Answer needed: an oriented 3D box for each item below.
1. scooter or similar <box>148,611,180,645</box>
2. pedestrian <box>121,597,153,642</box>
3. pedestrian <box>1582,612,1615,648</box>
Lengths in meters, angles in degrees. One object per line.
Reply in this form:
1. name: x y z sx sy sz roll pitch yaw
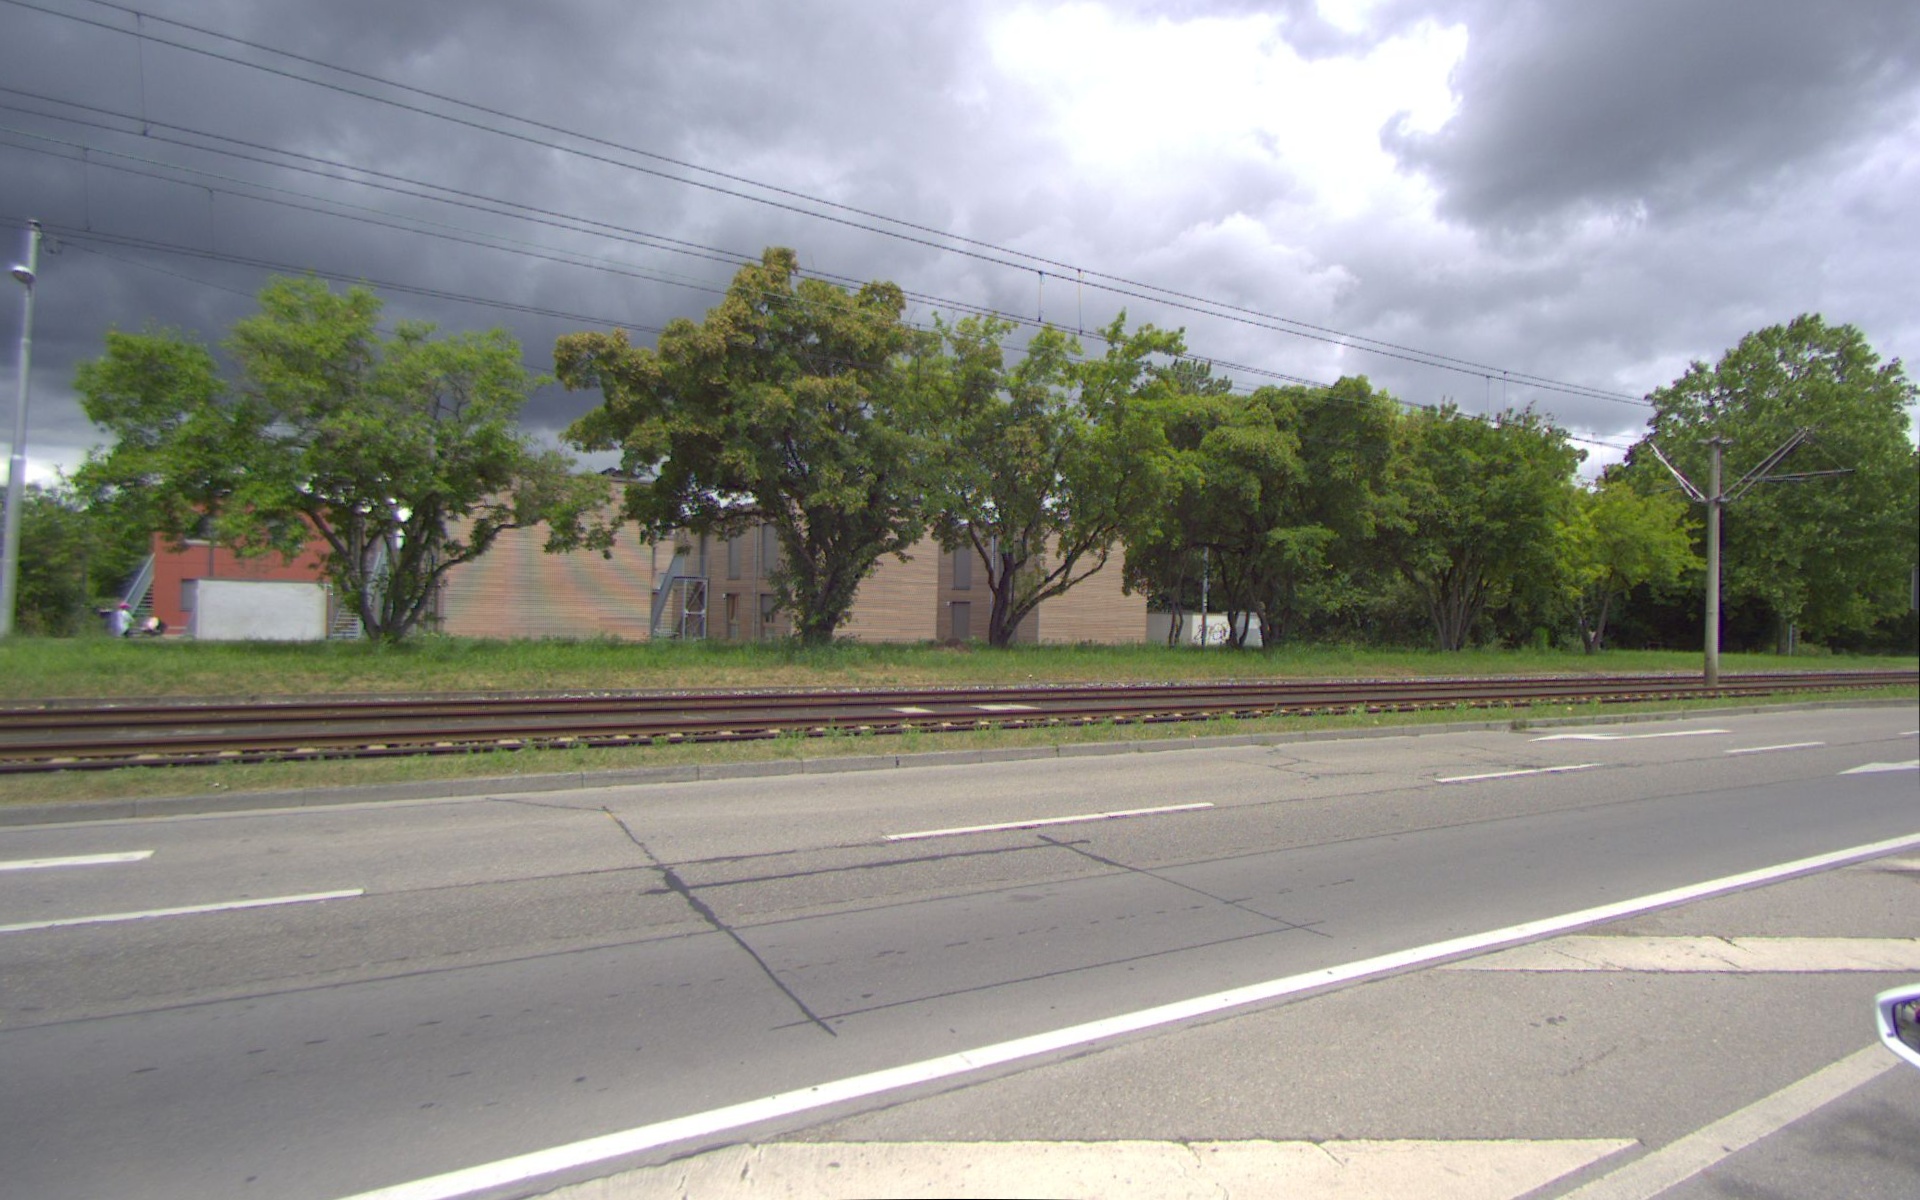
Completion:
1. scooter or similar: -26.494 0.928 33.428 0.375 1.090 0.716 2 -1 30
2. pedestrian: -26.873 0.642 32.791 0.483 1.460 0.655 2 -1 32
3. pedestrian: 35.760 1.694 56.284 1.347 1.959 1.029 2 0 -31
